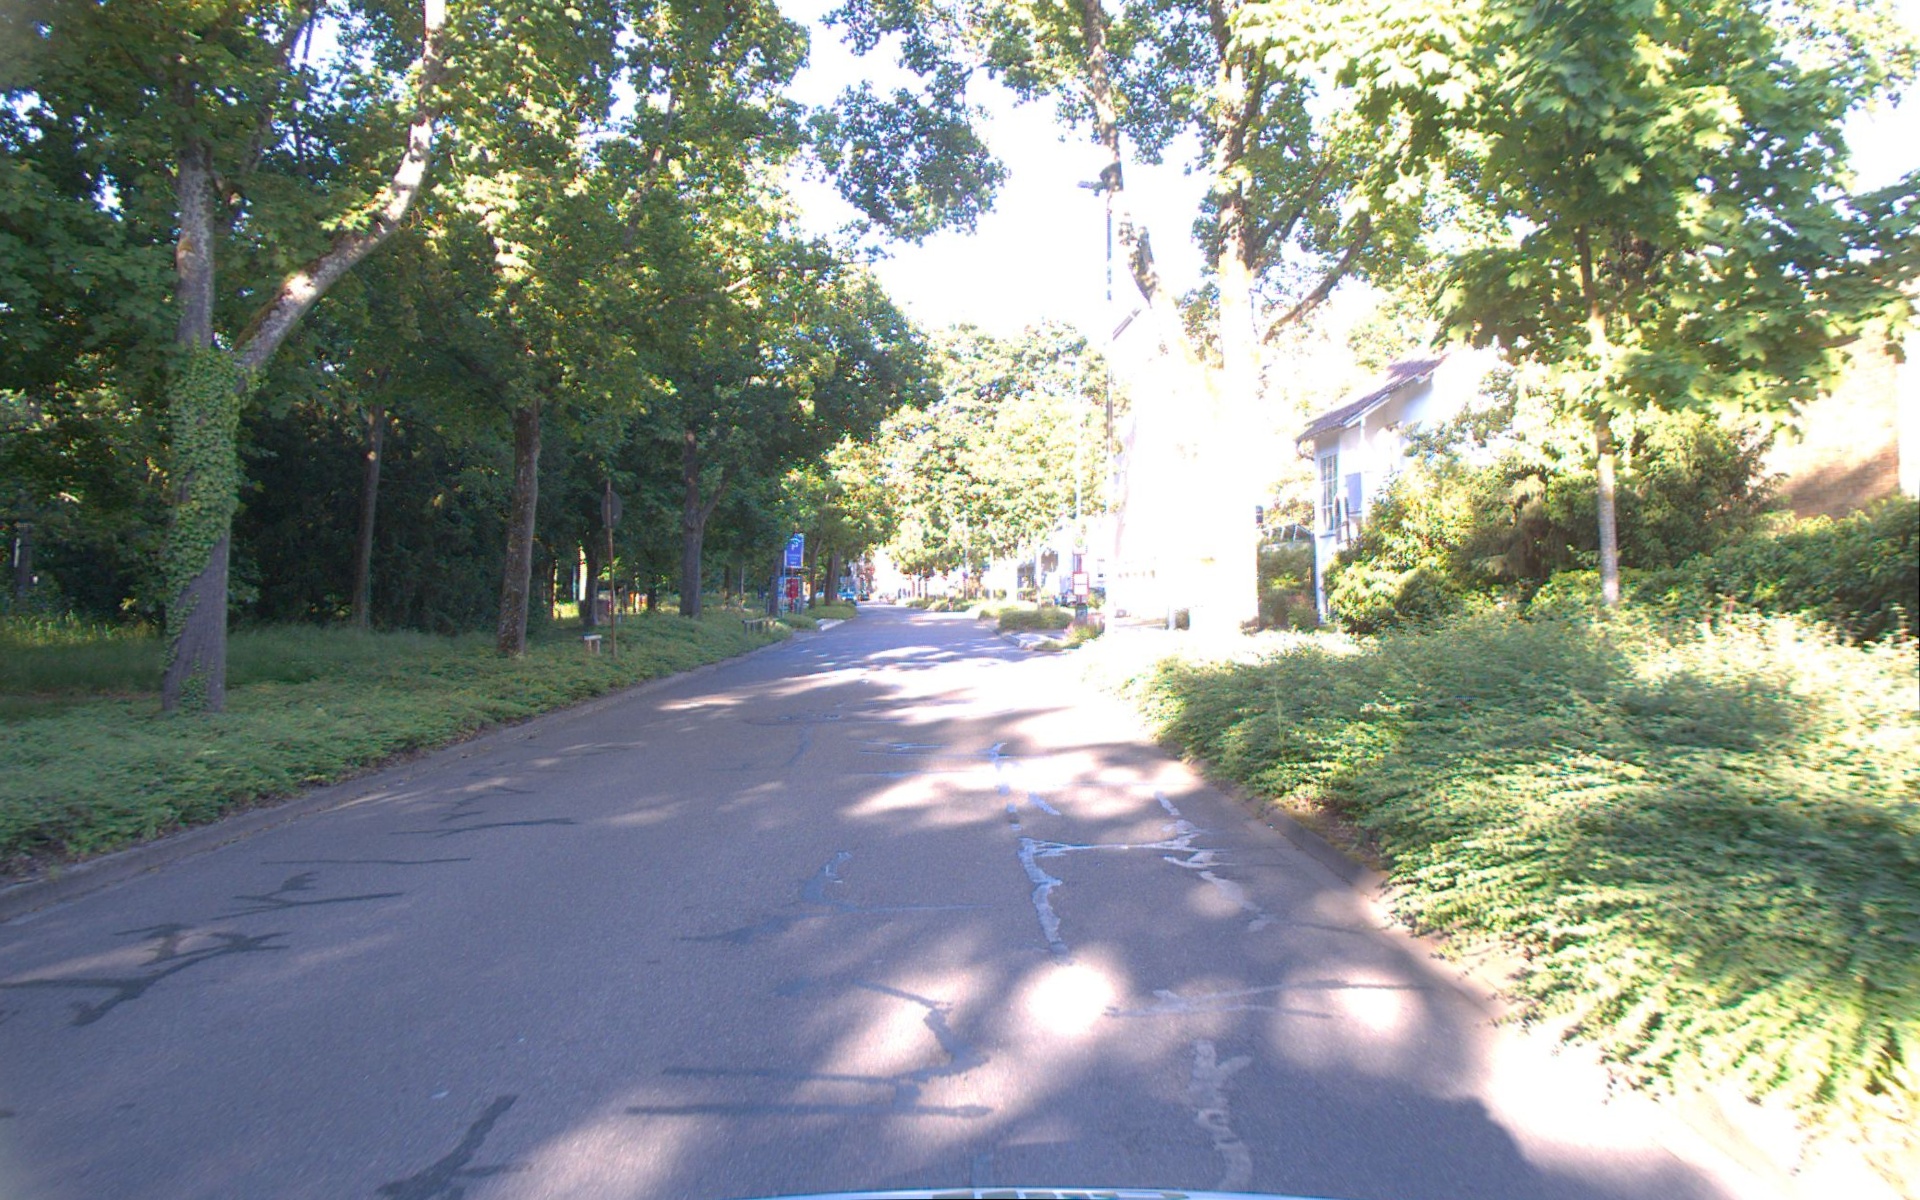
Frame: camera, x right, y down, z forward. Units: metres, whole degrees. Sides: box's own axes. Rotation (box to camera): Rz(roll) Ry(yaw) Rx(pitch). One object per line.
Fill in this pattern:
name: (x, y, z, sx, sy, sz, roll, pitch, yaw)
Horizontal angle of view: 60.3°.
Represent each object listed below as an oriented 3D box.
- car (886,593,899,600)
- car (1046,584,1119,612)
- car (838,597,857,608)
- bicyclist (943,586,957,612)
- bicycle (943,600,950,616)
car: (-9.833, -0.568, 241.103, 1.802, 1.008, 3.817, 0, 0, -3)
car: (7.646, -0.128, 102.850, 4.258, 1.377, 2.146, 3, 4, 11)
car: (-13.866, 0.308, 202.986, 1.957, 1.378, 3.532, 0, 0, -10)
bicyclist: (-0.663, -0.093, 109.331, 0.849, 1.669, 1.114, 0, 1, -1)
bicycle: (-0.889, 0.516, 109.314, 0.430, 0.995, 1.661, -1, 1, -1)
